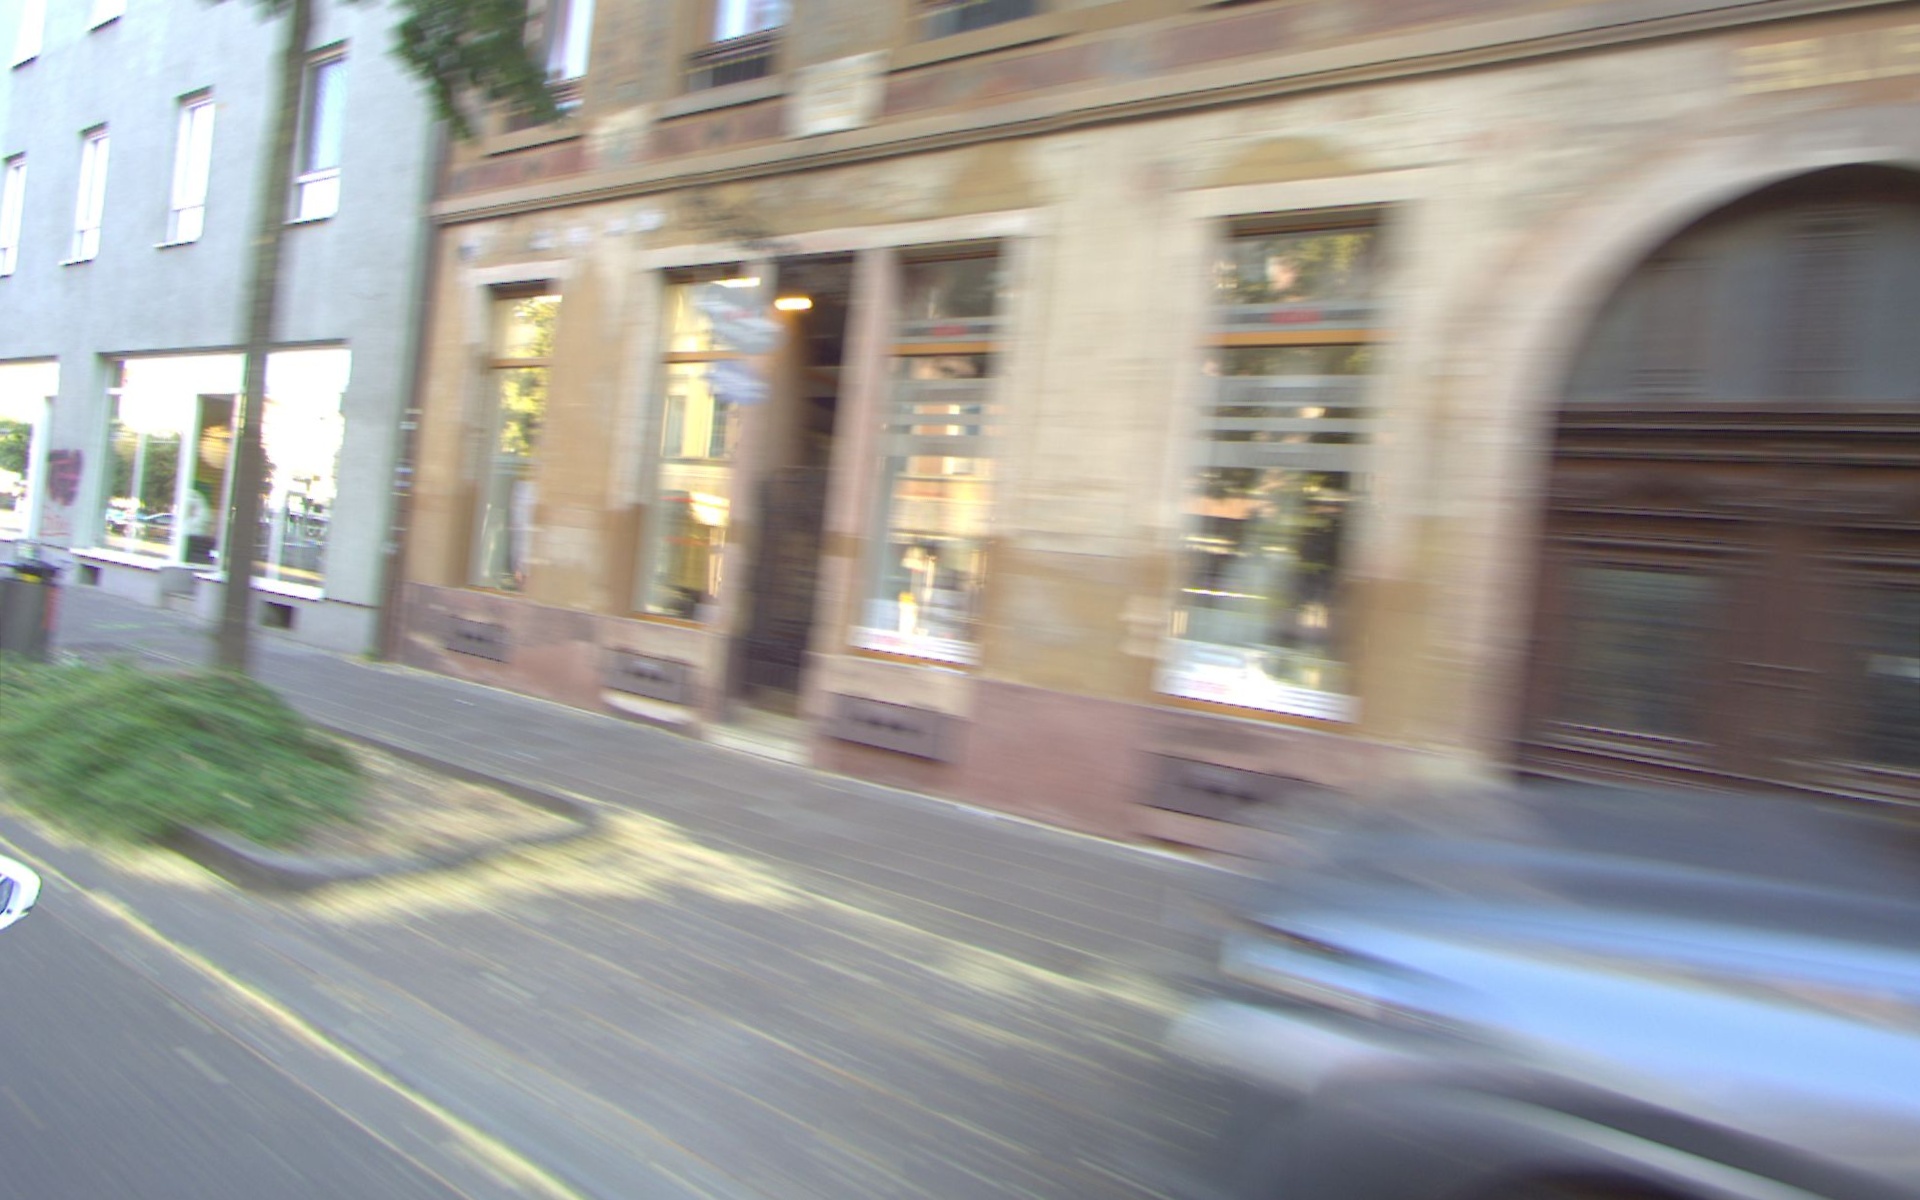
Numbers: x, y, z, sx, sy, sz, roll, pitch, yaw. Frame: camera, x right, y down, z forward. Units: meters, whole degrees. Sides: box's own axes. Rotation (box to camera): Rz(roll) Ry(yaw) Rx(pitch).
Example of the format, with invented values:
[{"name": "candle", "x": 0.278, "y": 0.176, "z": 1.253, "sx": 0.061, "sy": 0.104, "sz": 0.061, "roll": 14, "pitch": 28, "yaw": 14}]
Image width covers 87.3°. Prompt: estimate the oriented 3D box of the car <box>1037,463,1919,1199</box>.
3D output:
[{"name": "car", "x": 2.676, "y": 0.905, "z": 1.530, "sx": 4.633, "sy": 1.760, "sz": 2.039, "roll": 7, "pitch": 2, "yaw": 32}]
